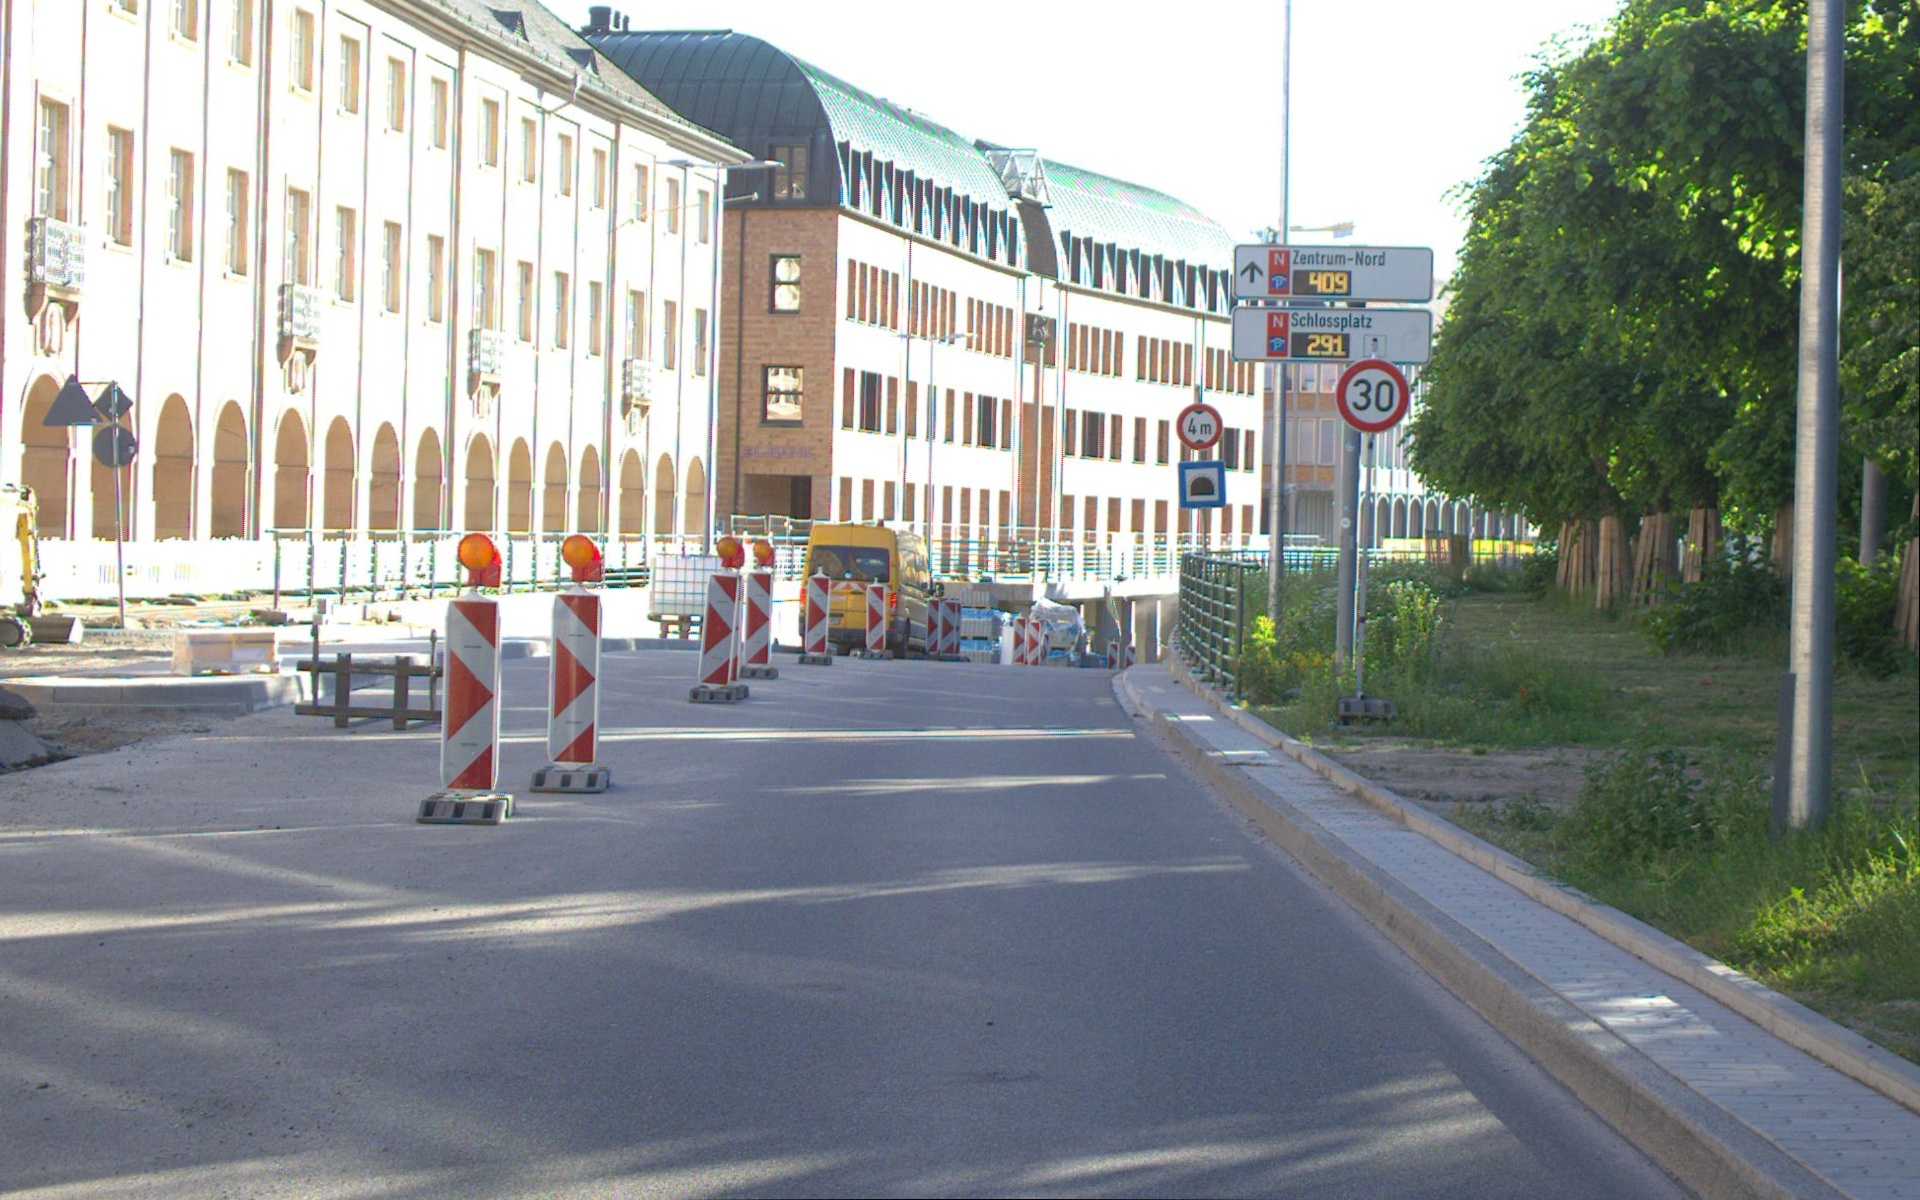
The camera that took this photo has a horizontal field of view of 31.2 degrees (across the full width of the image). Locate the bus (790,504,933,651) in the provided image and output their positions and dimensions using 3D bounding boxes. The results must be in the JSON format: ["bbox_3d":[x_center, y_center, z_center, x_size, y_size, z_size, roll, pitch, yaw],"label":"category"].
[{"bbox_3d":[-1.886,-0.391,67.220,2.073,2.677,4.682,2,-1,6],"label":"bus"}]

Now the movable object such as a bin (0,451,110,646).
[{"bbox_3d":[-12.618,-0.676,42.916,2.546,2.340,4.459,1,1,5],"label":"movable object such as a bin"}]
